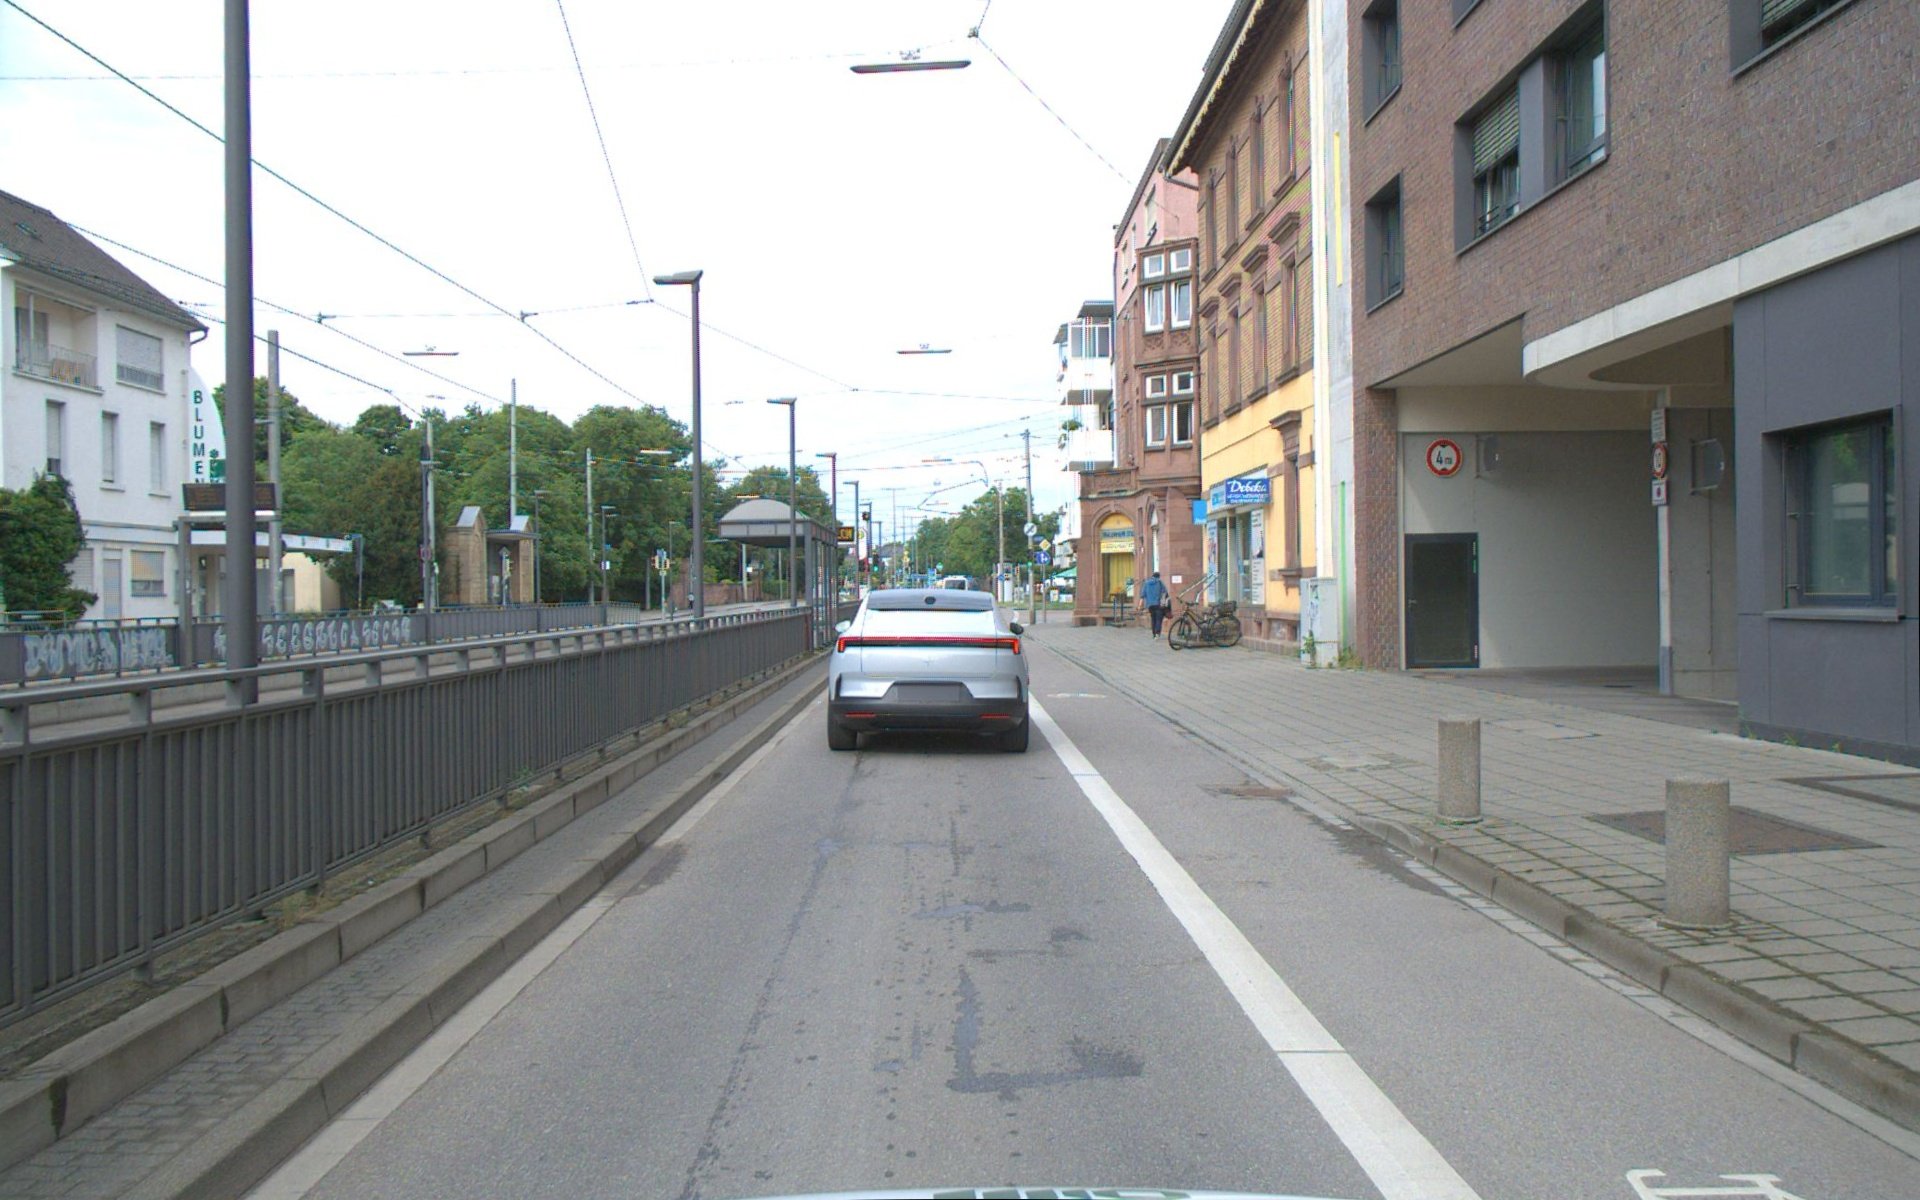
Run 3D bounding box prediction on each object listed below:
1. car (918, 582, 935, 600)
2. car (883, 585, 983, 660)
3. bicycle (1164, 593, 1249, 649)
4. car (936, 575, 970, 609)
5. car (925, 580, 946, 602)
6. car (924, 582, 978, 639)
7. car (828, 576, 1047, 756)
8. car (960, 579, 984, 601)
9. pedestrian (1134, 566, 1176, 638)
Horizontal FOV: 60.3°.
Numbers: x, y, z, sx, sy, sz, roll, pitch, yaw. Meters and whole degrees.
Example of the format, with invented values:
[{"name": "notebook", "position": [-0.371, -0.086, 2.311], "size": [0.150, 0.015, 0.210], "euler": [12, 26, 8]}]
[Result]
[{"name": "car", "position": [-3.743, -1.007, 185.409], "size": [1.953, 2.049, 3.999], "euler": [-1, 0, -1]}, {"name": "car", "position": [-0.597, 0.440, 34.837], "size": [1.953, 1.444, 3.999], "euler": [-1, 0, -2]}, {"name": "bicycle", "position": [5.540, 0.468, 37.217], "size": [1.742, 1.149, 0.642], "euler": [-3, 0, -2]}, {"name": "car", "position": [-0.547, -0.593, 121.218], "size": [2.182, 2.444, 5.118], "euler": [0, 0, -4]}, {"name": "car", "position": [-2.298, -0.841, 157.616], "size": [1.953, 2.049, 3.999], "euler": [-1, 0, -1]}, {"name": "car", "position": [-0.290, 0.319, 51.835], "size": [1.647, 1.717, 3.823], "euler": [0, 0, -1]}, {"name": "car", "position": [-0.340, 0.604, 16.793], "size": [1.960, 1.608, 3.996], "euler": [0, 0, -4]}, {"name": "car", "position": [1.450, -1.131, 196.753], "size": [2.750, 2.548, 5.721], "euler": [0, 0, -1]}, {"name": "pedestrian", "position": [5.257, 0.038, 44.689], "size": [0.941, 1.882, 0.975], "euler": [-3, 1, -1]}]
